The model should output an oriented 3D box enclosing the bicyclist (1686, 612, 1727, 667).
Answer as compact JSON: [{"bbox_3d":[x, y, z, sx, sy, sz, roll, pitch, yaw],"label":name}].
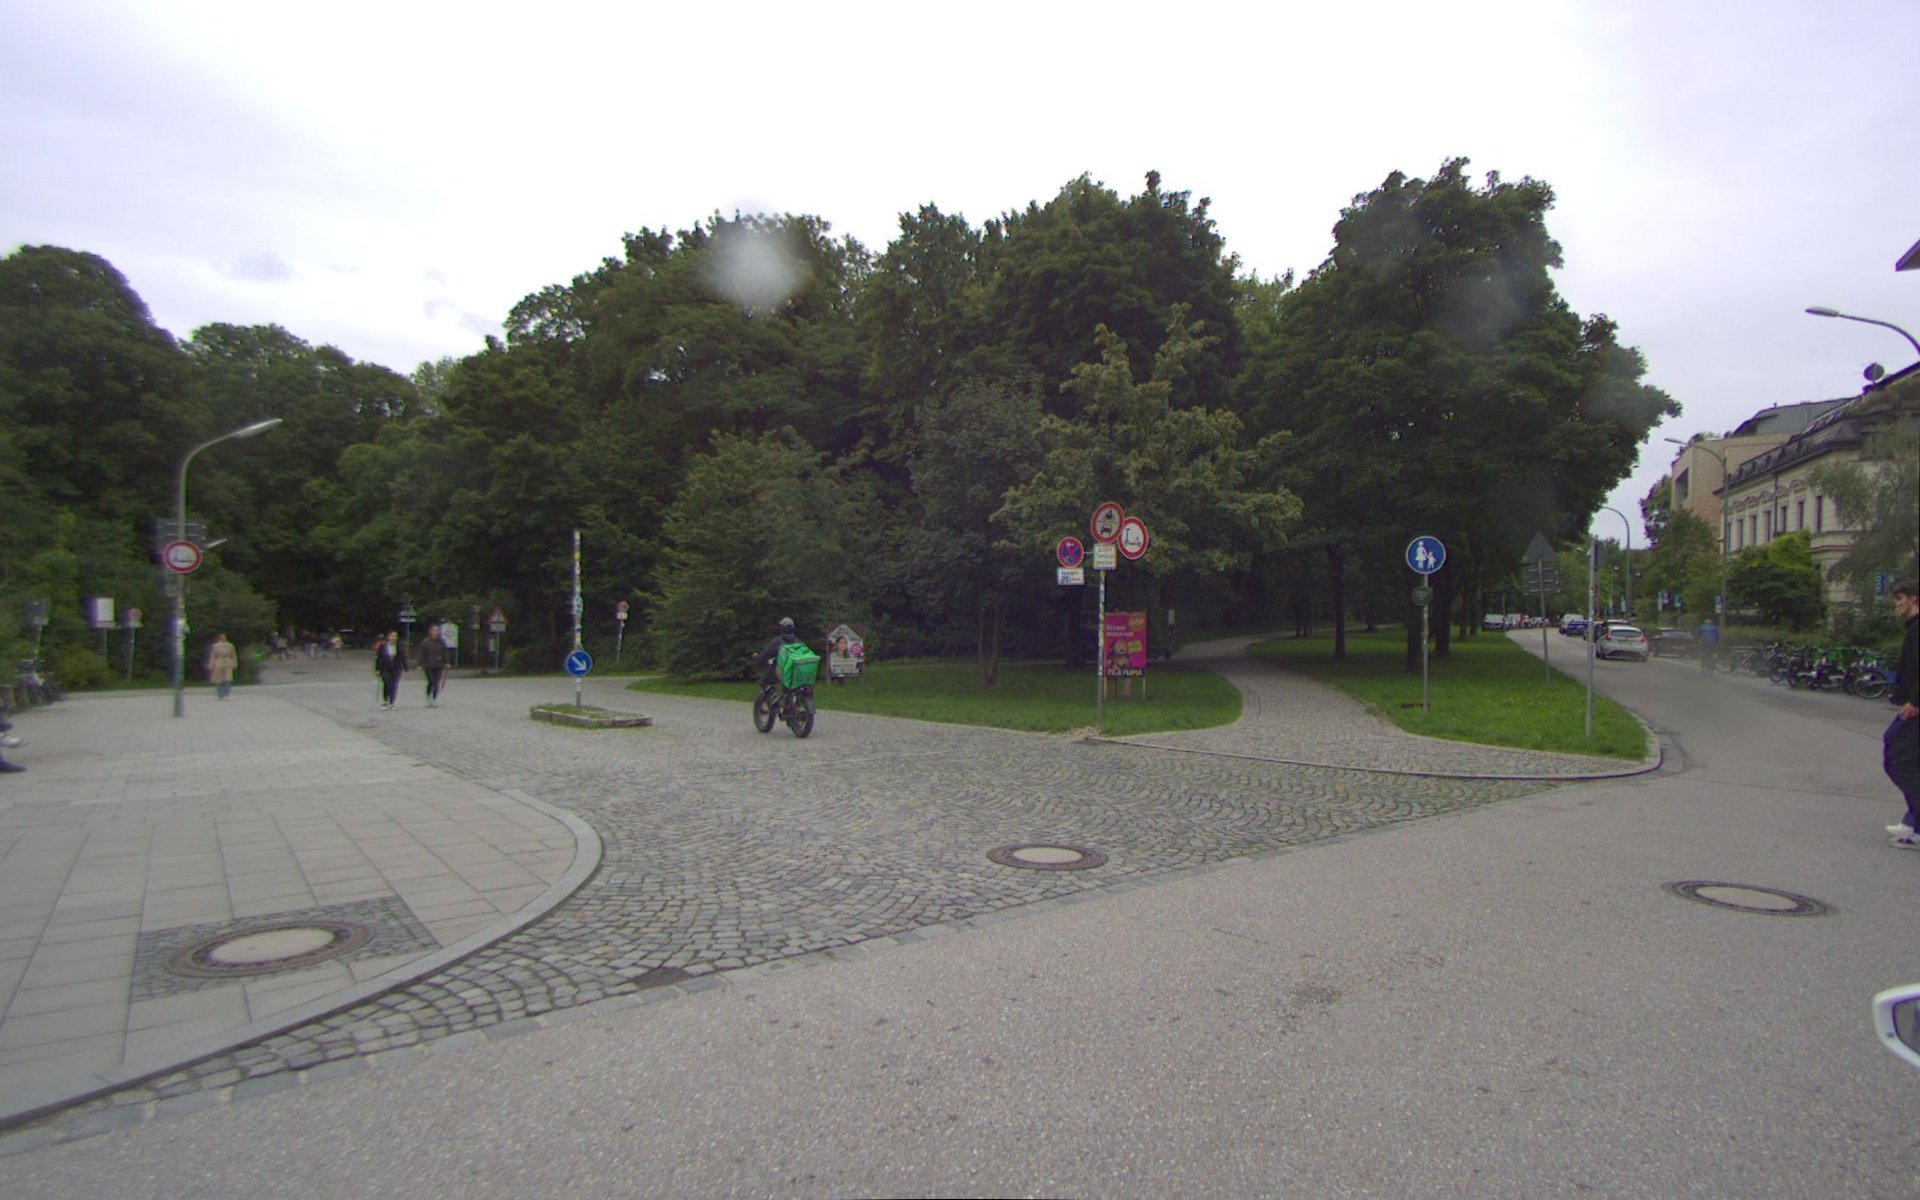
[{"bbox_3d":[24.922,1.309,33.560,0.900,1.787,1.214,0,-1,27],"label":"bicyclist"}]

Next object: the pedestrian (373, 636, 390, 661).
[{"bbox_3d":[-39.857,3.343,69.201,0.867,1.674,0.731,0,-1,-13],"label":"pedestrian"}]

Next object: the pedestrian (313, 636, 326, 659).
[{"bbox_3d":[-43.408,3.198,68.102,0.658,1.514,0.621,1,-1,-41],"label":"pedestrian"}]

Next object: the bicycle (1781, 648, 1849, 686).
[{"bbox_3d":[23.687,1.843,27.833,1.507,1.028,0.409,0,-1,2],"label":"bicycle"}]

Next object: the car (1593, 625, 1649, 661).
[{"bbox_3d":[28.755,1.840,43.786,1.721,1.425,3.721,1,-1,29],"label":"car"}]

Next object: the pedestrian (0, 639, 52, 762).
[{"bbox_3d":[-11.173,1.146,11.561,1.026,1.353,0.943,1,-1,-44],"label":"pedestrian"}]

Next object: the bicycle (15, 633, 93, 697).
[{"bbox_3d":[-25.946,1.822,28.753,3.101,1.684,1.049,0,-1,36],"label":"bicycle"}]

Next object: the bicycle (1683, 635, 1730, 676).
[{"bbox_3d":[24.920,1.841,33.567,0.907,1.269,2.318,0,-1,28],"label":"bicycle"}]

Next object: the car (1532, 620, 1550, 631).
[{"bbox_3d":[90.806,3.954,156.947,1.968,1.622,4.451,0,-1,36],"label":"car"}]

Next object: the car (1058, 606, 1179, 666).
[{"bbox_3d":[5.571,1.257,35.591,3.925,2.040,1.786,1,-1,-7],"label":"car"}]

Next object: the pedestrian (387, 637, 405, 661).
[{"bbox_3d":[-40.578,3.499,72.257,0.721,1.674,0.879,-1,-1,35],"label":"pedestrian"}]

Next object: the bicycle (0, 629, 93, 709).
[{"bbox_3d":[-21.255,1.550,23.328,3.102,1.684,1.048,0,-1,37],"label":"bicycle"}]

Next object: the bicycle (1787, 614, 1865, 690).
[{"bbox_3d":[23.450,1.400,27.219,1.643,2.040,0.457,0,-1,2],"label":"bicycle"}]

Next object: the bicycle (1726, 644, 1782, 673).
[{"bbox_3d":[28.186,2.069,35.675,1.506,1.028,0.410,0,-1,12],"label":"bicycle"}]

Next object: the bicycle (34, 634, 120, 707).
[{"bbox_3d":[-22.688,1.766,25.786,3.102,1.684,1.048,0,-1,37],"label":"bicycle"}]

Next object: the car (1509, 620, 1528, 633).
[{"bbox_3d":[74.124,3.504,133.257,1.965,1.622,4.457,0,-1,32],"label":"car"}]

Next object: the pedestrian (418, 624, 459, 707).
[{"bbox_3d":[-11.163,1.385,21.483,0.654,1.720,0.744,1,-1,-36],"label":"pedestrian"}]

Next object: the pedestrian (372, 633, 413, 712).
[{"bbox_3d":[-11.919,1.496,21.104,0.685,1.602,0.744,1,-1,-34],"label":"pedestrian"}]

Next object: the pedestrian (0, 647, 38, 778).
[{"bbox_3d":[-10.181,1.136,10.134,1.258,1.285,0.839,1,-1,-44],"label":"pedestrian"}]

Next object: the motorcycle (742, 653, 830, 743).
[{"bbox_3d":[-2.533,1.358,14.427,0.709,1.113,1.964,1,-1,-26],"label":"motorcycle"}]

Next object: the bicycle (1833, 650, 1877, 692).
[{"bbox_3d":[22.912,1.796,25.708,1.519,1.028,0.364,1,-1,-30],"label":"bicycle"}]

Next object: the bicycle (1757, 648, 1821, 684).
[{"bbox_3d":[23.824,1.886,28.865,1.507,1.028,0.409,0,-1,-2],"label":"bicycle"}]

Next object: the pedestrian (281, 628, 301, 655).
[{"bbox_3d":[-50.713,3.113,76.163,1.045,2.040,1.133,1,-2,-44],"label":"pedestrian"}]

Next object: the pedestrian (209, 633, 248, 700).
[{"bbox_3d":[-19.715,1.780,27.065,0.744,1.728,1.098,1,-1,-41],"label":"pedestrian"}]

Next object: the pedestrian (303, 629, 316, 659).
[{"bbox_3d":[-43.894,2.948,67.811,0.690,2.040,0.711,0,-1,-38],"label":"pedestrian"}]

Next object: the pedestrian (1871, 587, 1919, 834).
[{"bbox_3d":[7.259,0.798,7.235,0.731,1.769,0.824,1,-1,-26],"label":"pedestrian"}]

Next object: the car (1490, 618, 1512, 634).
[{"bbox_3d":[58.447,2.831,108.556,1.963,1.622,4.461,1,-1,28],"label":"car"}]

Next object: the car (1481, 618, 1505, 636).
[{"bbox_3d":[50.014,2.512,94.311,1.963,1.622,4.461,1,-1,28],"label":"car"}]

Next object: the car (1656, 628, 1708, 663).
[{"bbox_3d":[35.068,2.163,48.846,1.622,1.579,3.553,0,-1,29],"label":"car"}]

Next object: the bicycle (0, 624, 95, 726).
[{"bbox_3d":[-17.066,1.312,18.514,3.101,1.684,1.049,0,-1,37],"label":"bicycle"}]

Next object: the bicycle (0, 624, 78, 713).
[{"bbox_3d":[-19.342,1.364,20.780,2.956,1.684,1.049,0,-1,37],"label":"bicycle"}]

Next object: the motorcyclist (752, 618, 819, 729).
[{"bbox_3d":[-2.501,1.019,14.382,0.704,1.521,0.893,1,-1,-27],"label":"motorcyclist"}]

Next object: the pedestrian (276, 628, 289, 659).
[{"bbox_3d":[-45.193,2.884,66.983,0.690,2.040,0.711,0,-1,-38],"label":"pedestrian"}]

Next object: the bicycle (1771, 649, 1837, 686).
[{"bbox_3d":[23.823,1.901,28.361,1.507,1.028,0.409,0,-1,-2],"label":"bicycle"}]

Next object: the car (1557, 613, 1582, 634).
[{"bbox_3d":[60.000,2.271,98.935,2.036,1.992,4.967,1,-1,30],"label":"car"}]

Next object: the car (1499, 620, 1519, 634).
[{"bbox_3d":[66.385,3.232,121.443,1.965,1.622,4.457,0,-1,32],"label":"car"}]

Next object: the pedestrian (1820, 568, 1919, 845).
[{"bbox_3d":[6.633,0.711,6.849,0.651,1.833,0.987,1,-1,-25],"label":"pedestrian"}]

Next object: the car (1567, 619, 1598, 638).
[{"bbox_3d":[56.016,2.531,90.441,1.963,1.622,4.249,1,-1,27],"label":"car"}]

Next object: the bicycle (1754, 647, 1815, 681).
[{"bbox_3d":[24.904,1.927,30.347,1.507,1.028,0.409,0,-1,-2],"label":"bicycle"}]

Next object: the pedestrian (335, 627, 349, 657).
[{"bbox_3d":[-41.926,2.860,68.138,0.690,2.040,0.711,0,-1,-38],"label":"pedestrian"}]

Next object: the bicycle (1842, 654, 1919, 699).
[{"bbox_3d":[22.075,1.820,23.954,1.509,1.028,0.367,-1,-1,27],"label":"bicycle"}]

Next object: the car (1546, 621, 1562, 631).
[{"bbox_3d":[99.949,4.361,168.916,1.968,1.622,4.452,0,-1,36],"label":"car"}]

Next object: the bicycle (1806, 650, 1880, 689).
[{"bbox_3d":[23.479,1.842,26.714,1.506,1.028,0.367,0,-1,7],"label":"bicycle"}]

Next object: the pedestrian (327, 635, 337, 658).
[{"bbox_3d":[-42.847,3.154,68.535,0.536,1.514,0.537,1,-1,-41],"label":"pedestrian"}]
